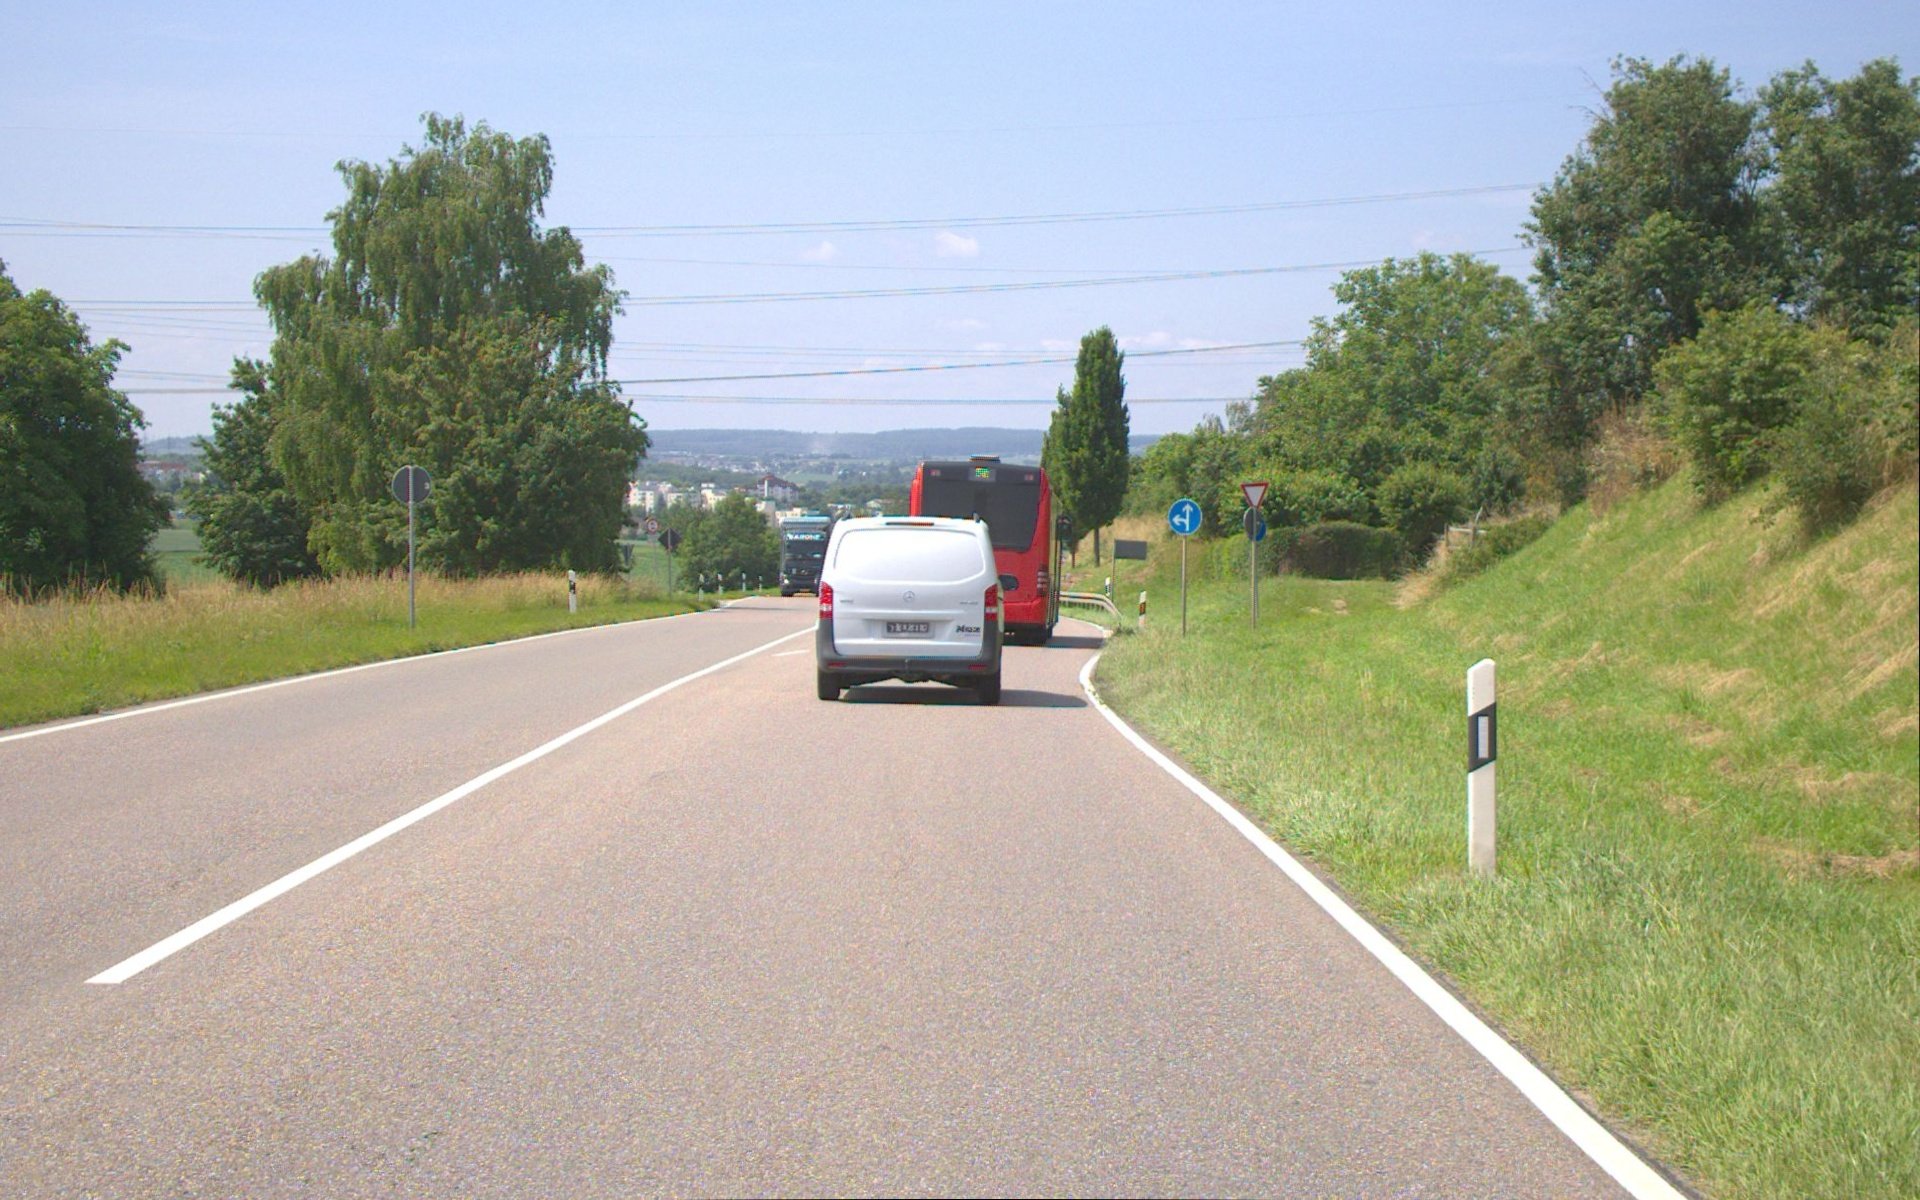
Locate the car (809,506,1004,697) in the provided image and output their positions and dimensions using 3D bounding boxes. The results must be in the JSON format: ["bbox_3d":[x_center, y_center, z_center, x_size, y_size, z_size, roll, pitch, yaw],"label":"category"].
[{"bbox_3d":[-0.527,-0.019,36.042,1.923,1.883,4.000,0,1,0],"label":"car"}]

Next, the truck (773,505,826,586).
[{"bbox_3d":[-8.279,-2.824,178.153,2.585,4.090,5.442,1,1,-2],"label":"truck"}]

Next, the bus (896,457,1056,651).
[{"bbox_3d":[0.382,-1.070,66.887,2.747,3.341,13.223,-1,2,1],"label":"bus"}]

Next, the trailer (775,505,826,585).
[{"bbox_3d":[-8.588,-2.930,185.269,2.592,4.129,13.742,1,1,-3],"label":"trailer"}]
